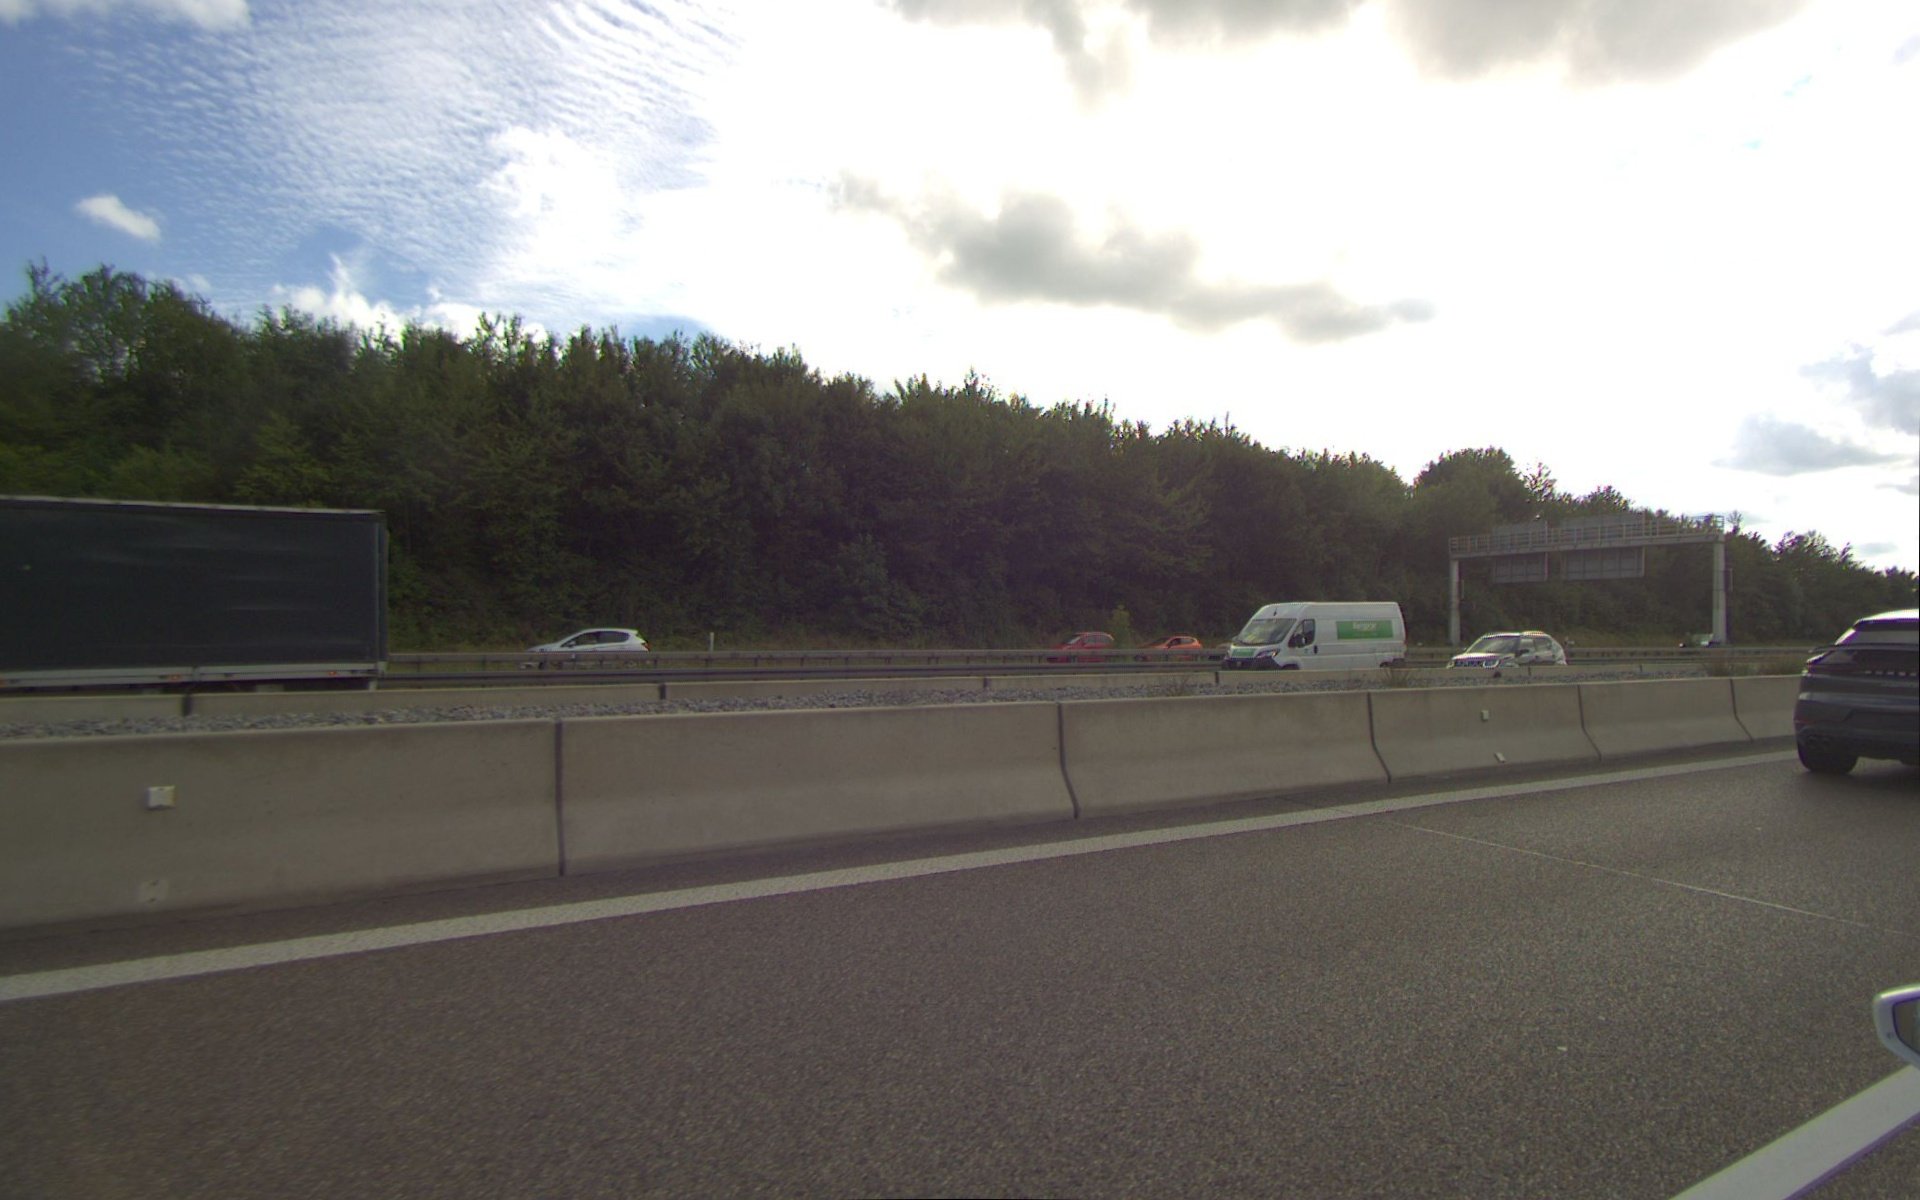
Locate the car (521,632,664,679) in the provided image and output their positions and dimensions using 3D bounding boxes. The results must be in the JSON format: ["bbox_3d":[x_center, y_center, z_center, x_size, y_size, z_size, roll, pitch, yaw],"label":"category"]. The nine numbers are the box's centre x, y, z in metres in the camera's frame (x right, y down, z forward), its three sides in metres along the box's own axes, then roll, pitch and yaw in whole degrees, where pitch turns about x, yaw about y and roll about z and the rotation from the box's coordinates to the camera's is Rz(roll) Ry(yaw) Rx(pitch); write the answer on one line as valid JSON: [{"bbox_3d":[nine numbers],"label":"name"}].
[{"bbox_3d":[-11.521,1.715,31.586,4.005,1.383,1.556,1,-2,-31],"label":"car"}]

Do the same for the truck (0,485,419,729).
[{"bbox_3d":[-12.635,0.137,15.186,7.736,3.307,2.342,1,-2,-31],"label":"truck"}]

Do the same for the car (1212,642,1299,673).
[{"bbox_3d":[13.697,2.635,46.503,4.005,1.383,1.556,1,-2,-31],"label":"car"}]

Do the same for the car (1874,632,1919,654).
[{"bbox_3d":[97.032,4.403,103.873,5.819,2.264,1.985,1,-2,-29],"label":"car"}]

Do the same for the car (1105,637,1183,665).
[{"bbox_3d":[9.569,2.647,52.116,4.005,1.383,1.556,1,-2,-31],"label":"car"}]

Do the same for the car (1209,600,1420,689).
[{"bbox_3d":[10.169,1.240,28.623,6.387,2.301,2.153,1,-2,-31],"label":"car"}]

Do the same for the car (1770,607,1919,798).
[{"bbox_3d":[10.591,0.942,10.224,5.436,1.658,1.903,1,-1,-31],"label":"car"}]

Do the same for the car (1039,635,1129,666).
[{"bbox_3d":[5.722,2.297,46.111,4.005,1.383,1.556,1,-2,-31],"label":"car"}]

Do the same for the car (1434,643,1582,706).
[{"bbox_3d":[14.779,1.950,27.048,4.005,1.531,1.728,1,-2,-31],"label":"car"}]
